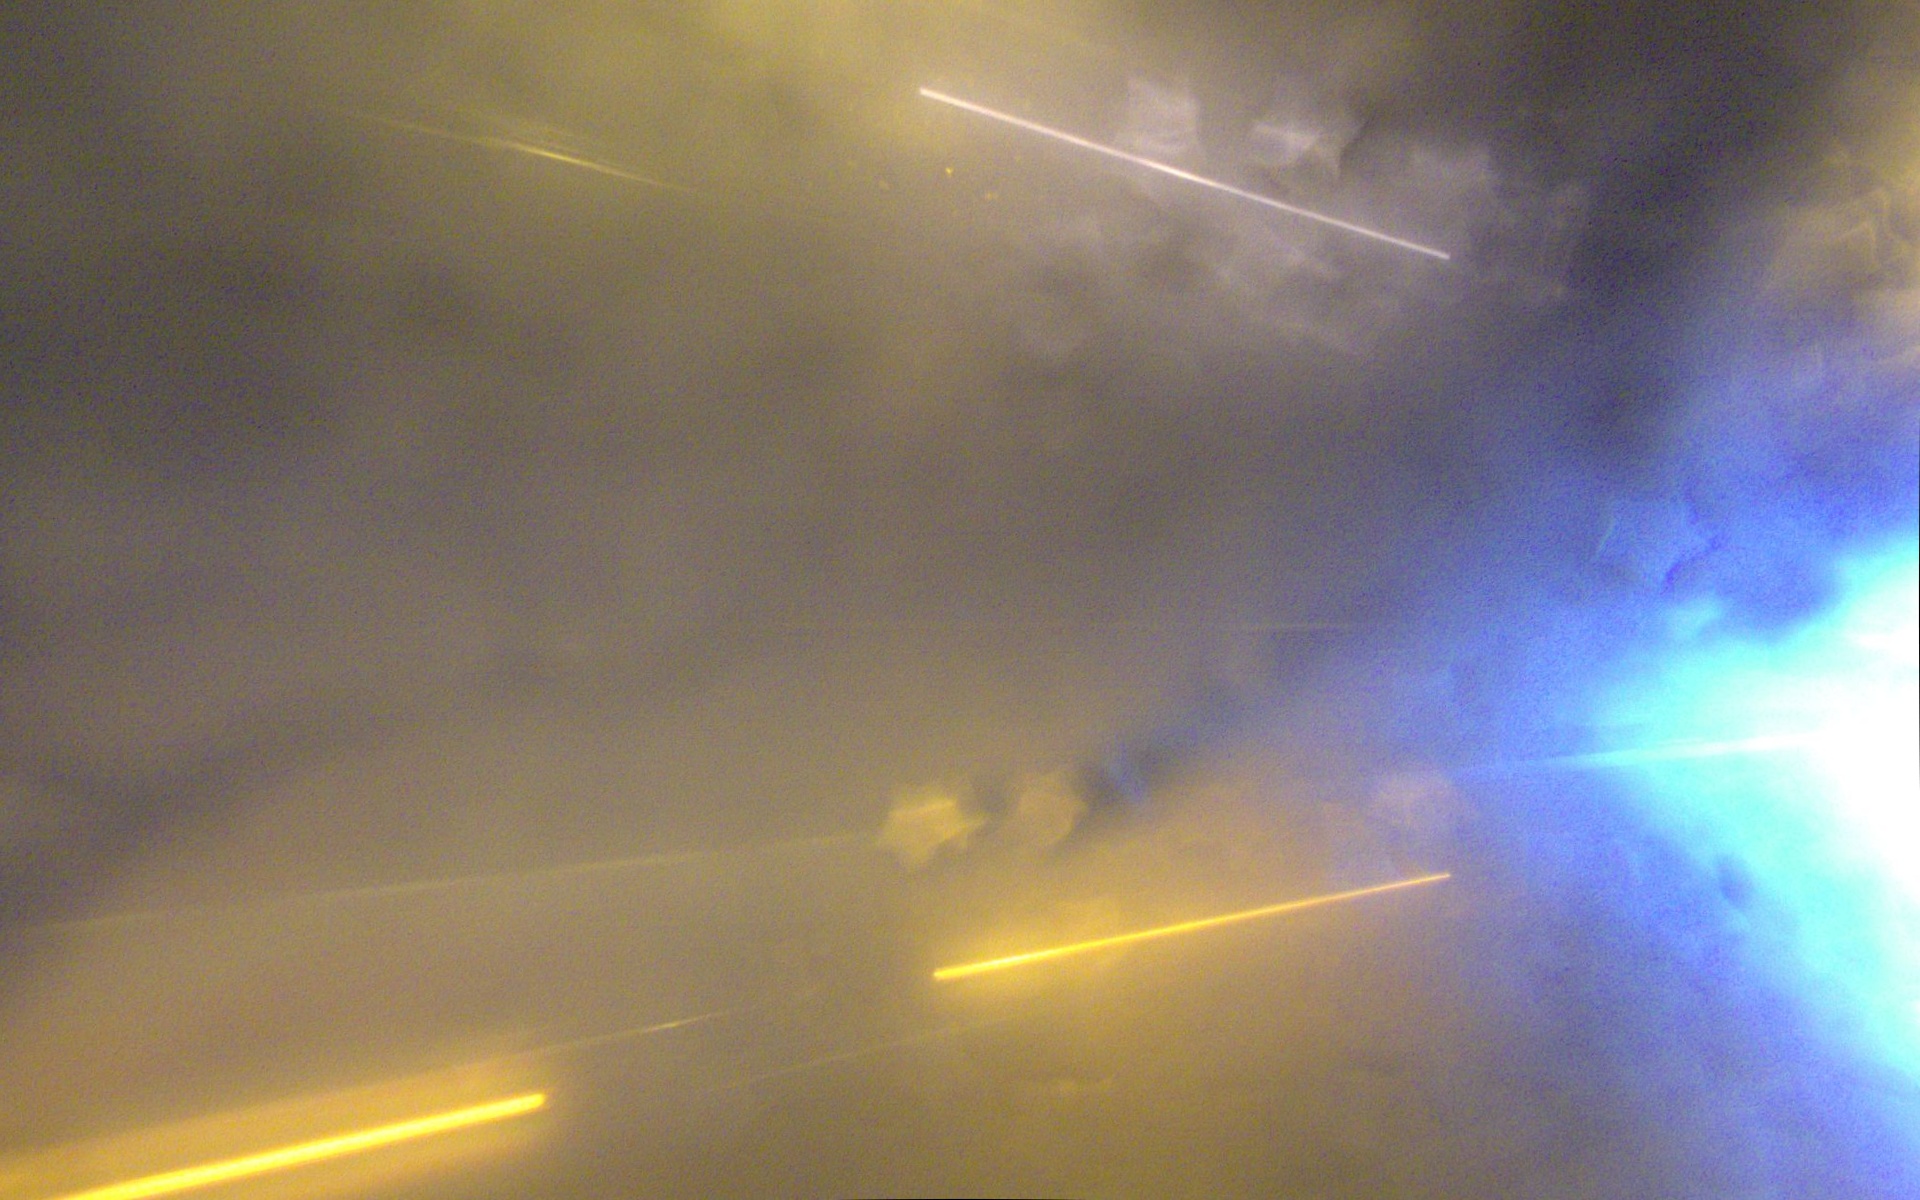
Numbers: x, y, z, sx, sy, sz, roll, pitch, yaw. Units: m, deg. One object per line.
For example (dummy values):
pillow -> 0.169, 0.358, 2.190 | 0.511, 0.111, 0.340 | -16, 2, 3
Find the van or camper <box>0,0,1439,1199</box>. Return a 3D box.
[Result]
van or camper -> -2.147, -0.132, 2.239 | 6.598, 2.921, 2.403 | 2, 0, -29
